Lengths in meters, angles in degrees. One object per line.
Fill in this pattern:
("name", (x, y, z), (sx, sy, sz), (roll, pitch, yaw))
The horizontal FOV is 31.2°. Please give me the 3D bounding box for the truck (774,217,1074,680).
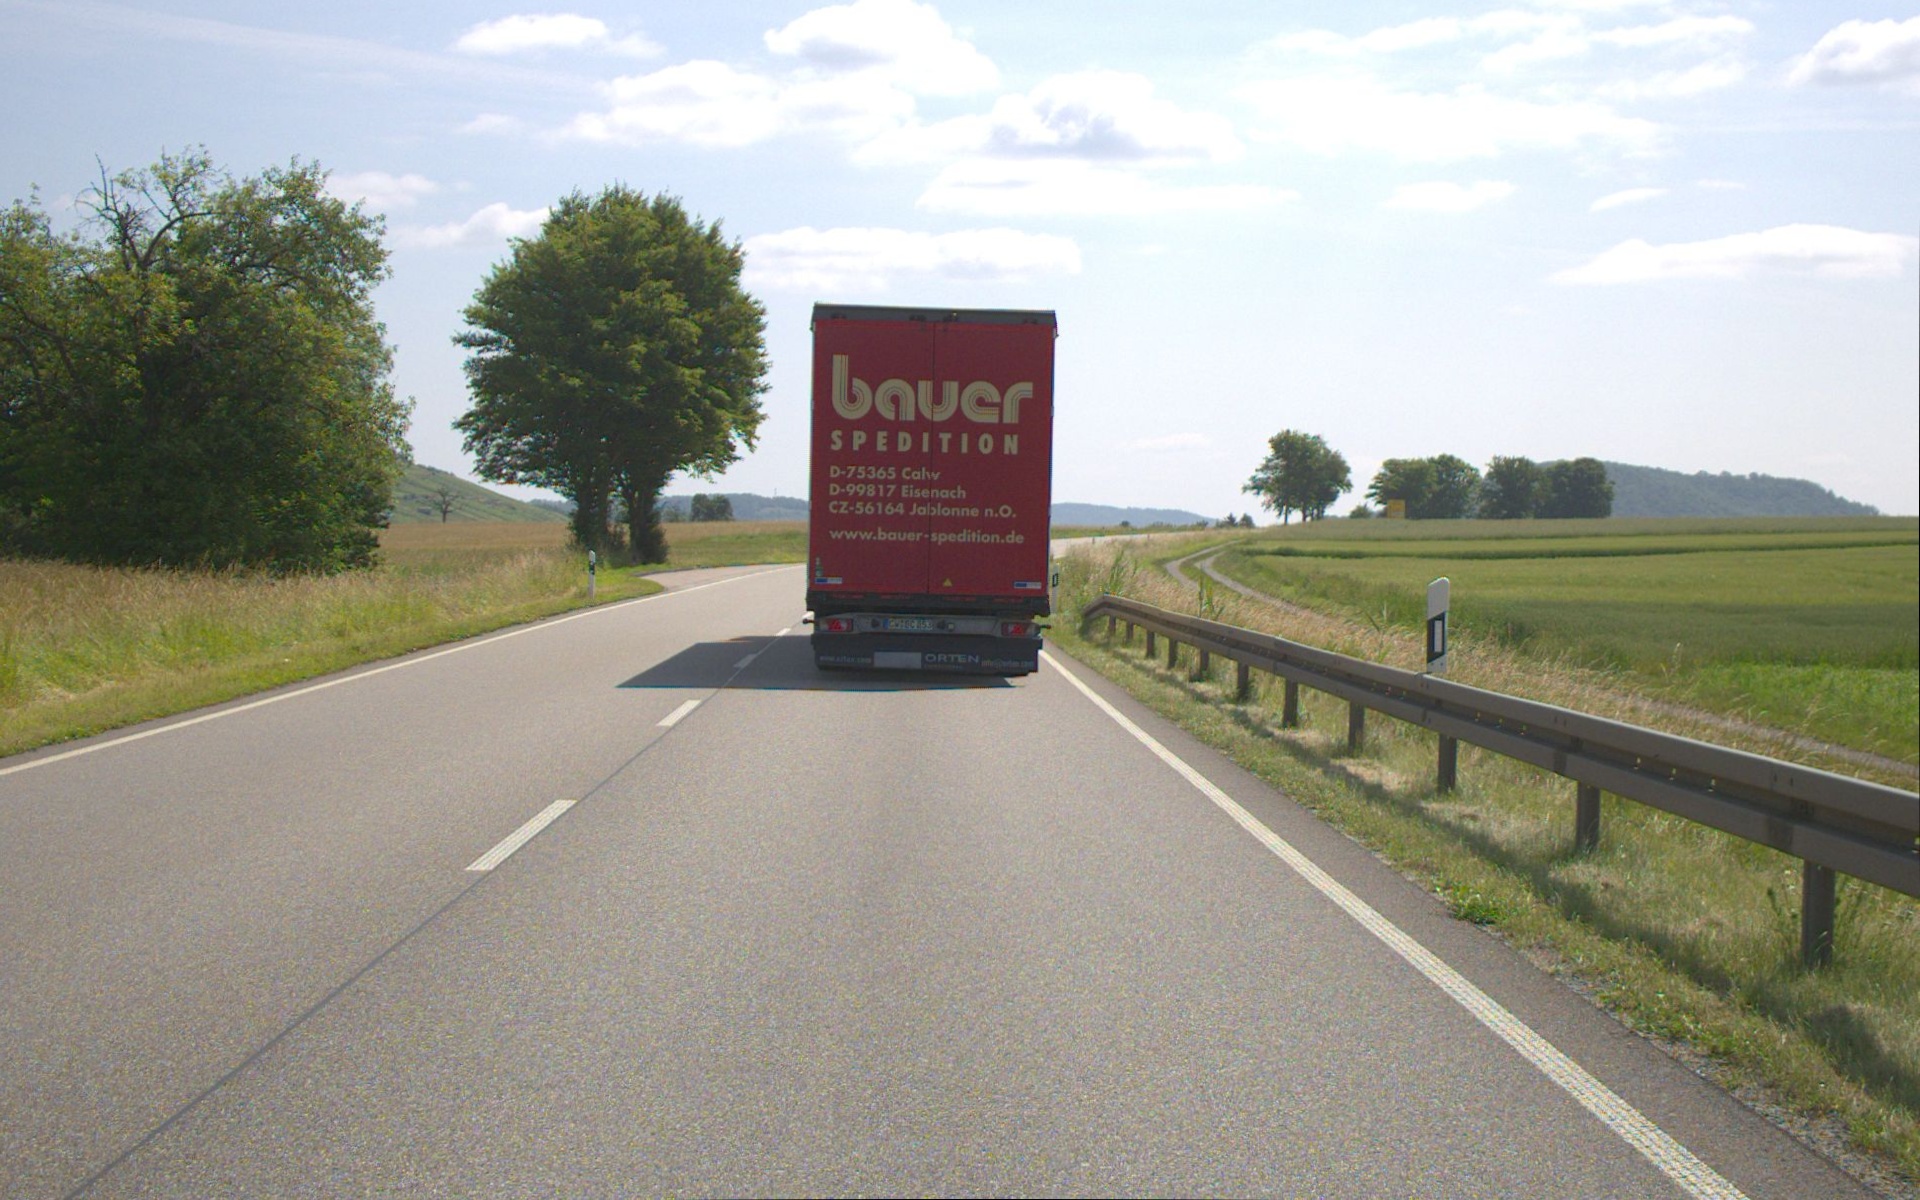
("truck", (-0.523, -1.592, 40.090), (2.975, 4.697, 9.367), (1, 0, -2))
